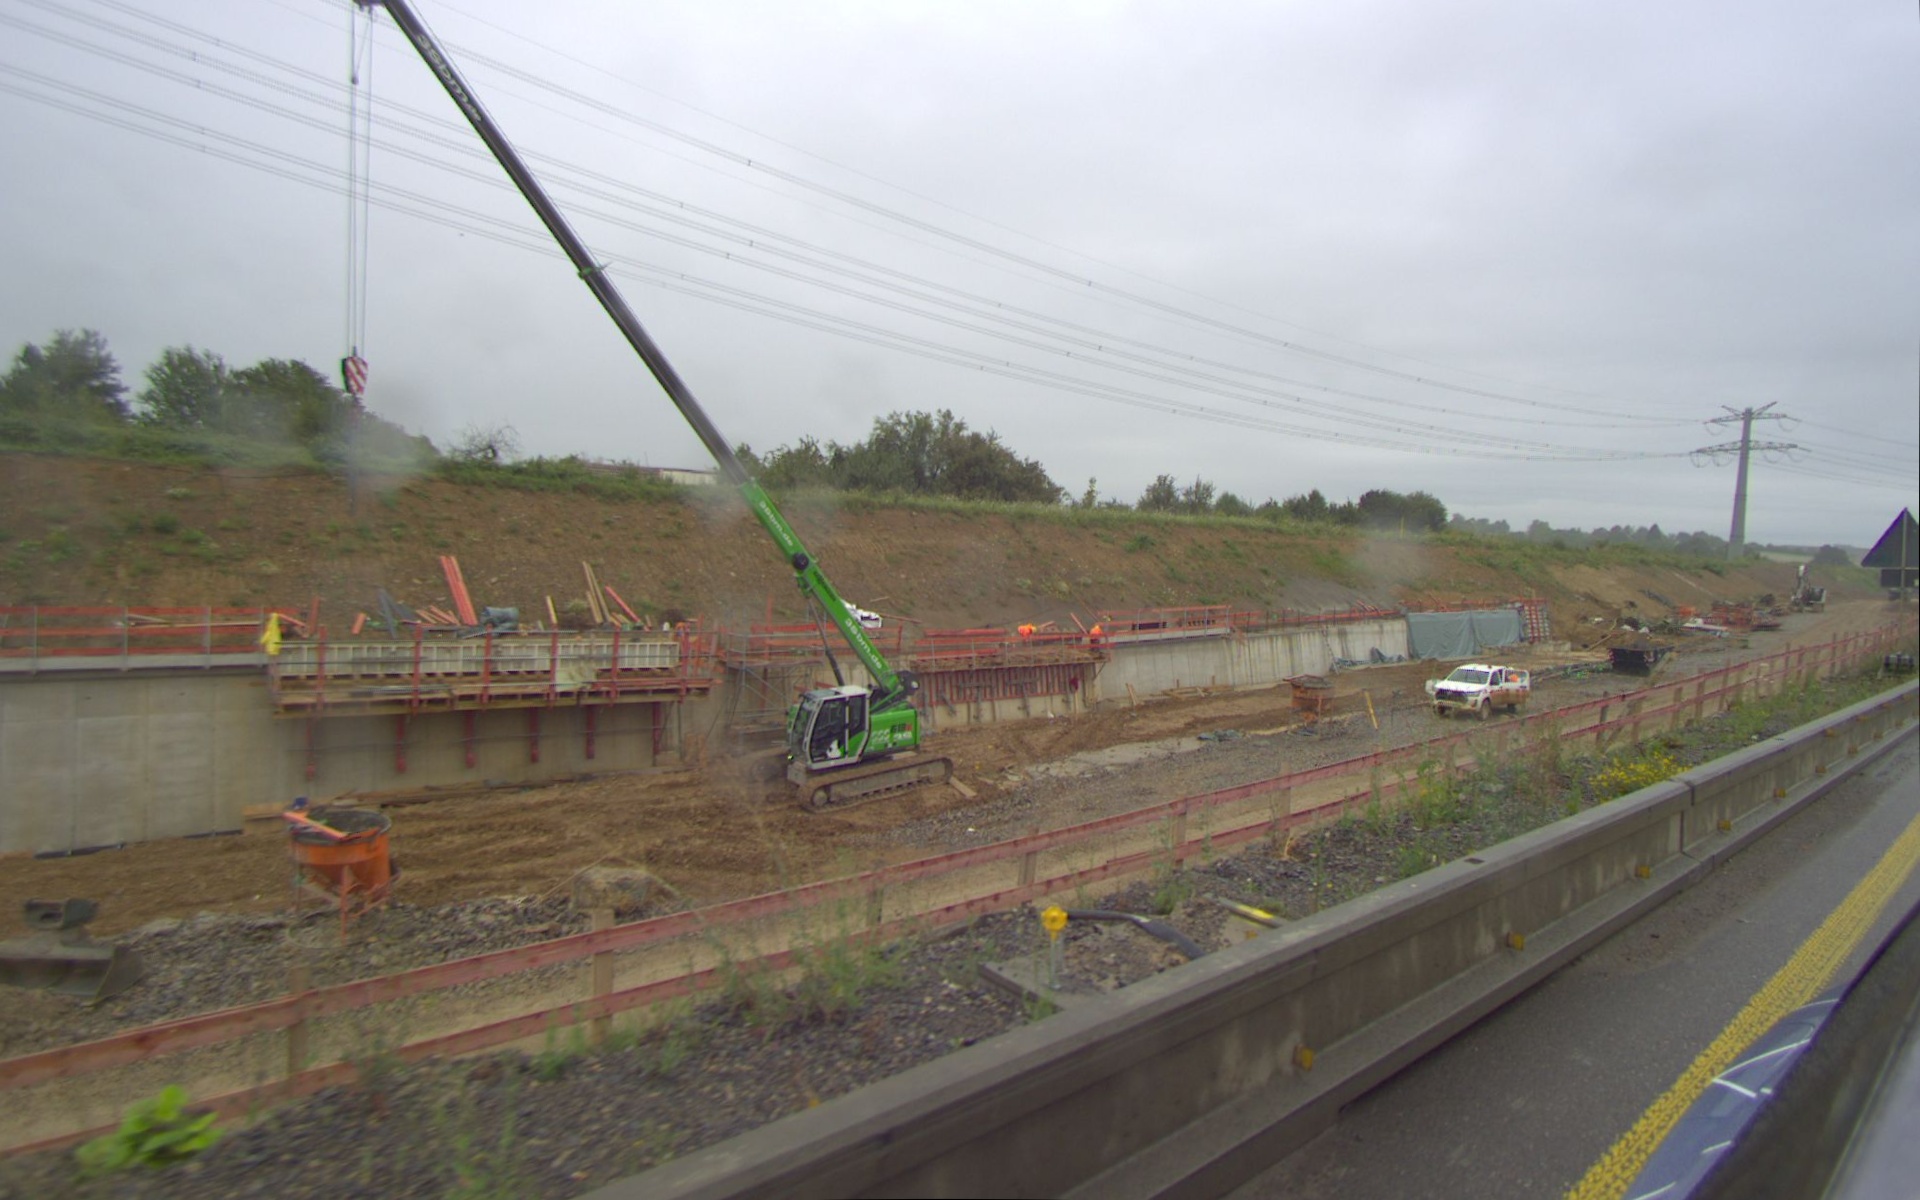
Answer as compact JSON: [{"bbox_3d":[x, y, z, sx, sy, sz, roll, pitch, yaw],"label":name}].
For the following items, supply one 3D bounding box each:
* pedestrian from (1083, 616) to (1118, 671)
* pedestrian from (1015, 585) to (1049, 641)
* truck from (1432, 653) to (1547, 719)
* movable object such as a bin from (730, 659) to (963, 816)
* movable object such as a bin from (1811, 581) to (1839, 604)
[{"bbox_3d":[6.045,1.879,43.566,0.987,2.260,0.917,-2,-3,-36],"label":"pedestrian"},{"bbox_3d":[3.052,0.547,42.875,0.989,2.275,0.915,-1,-3,-43],"label":"pedestrian"},{"bbox_3d":[20.049,3.164,38.212,5.684,1.894,1.766,-1,3,-40],"label":"truck"},{"bbox_3d":[-3.014,3.441,27.018,4.775,2.836,3.800,-7,6,-40],"label":"movable object such as a bin"},{"bbox_3d":[107.437,-0.949,125.659,3.933,2.753,2.248,-1,1,-43],"label":"movable object such as a bin"}]
